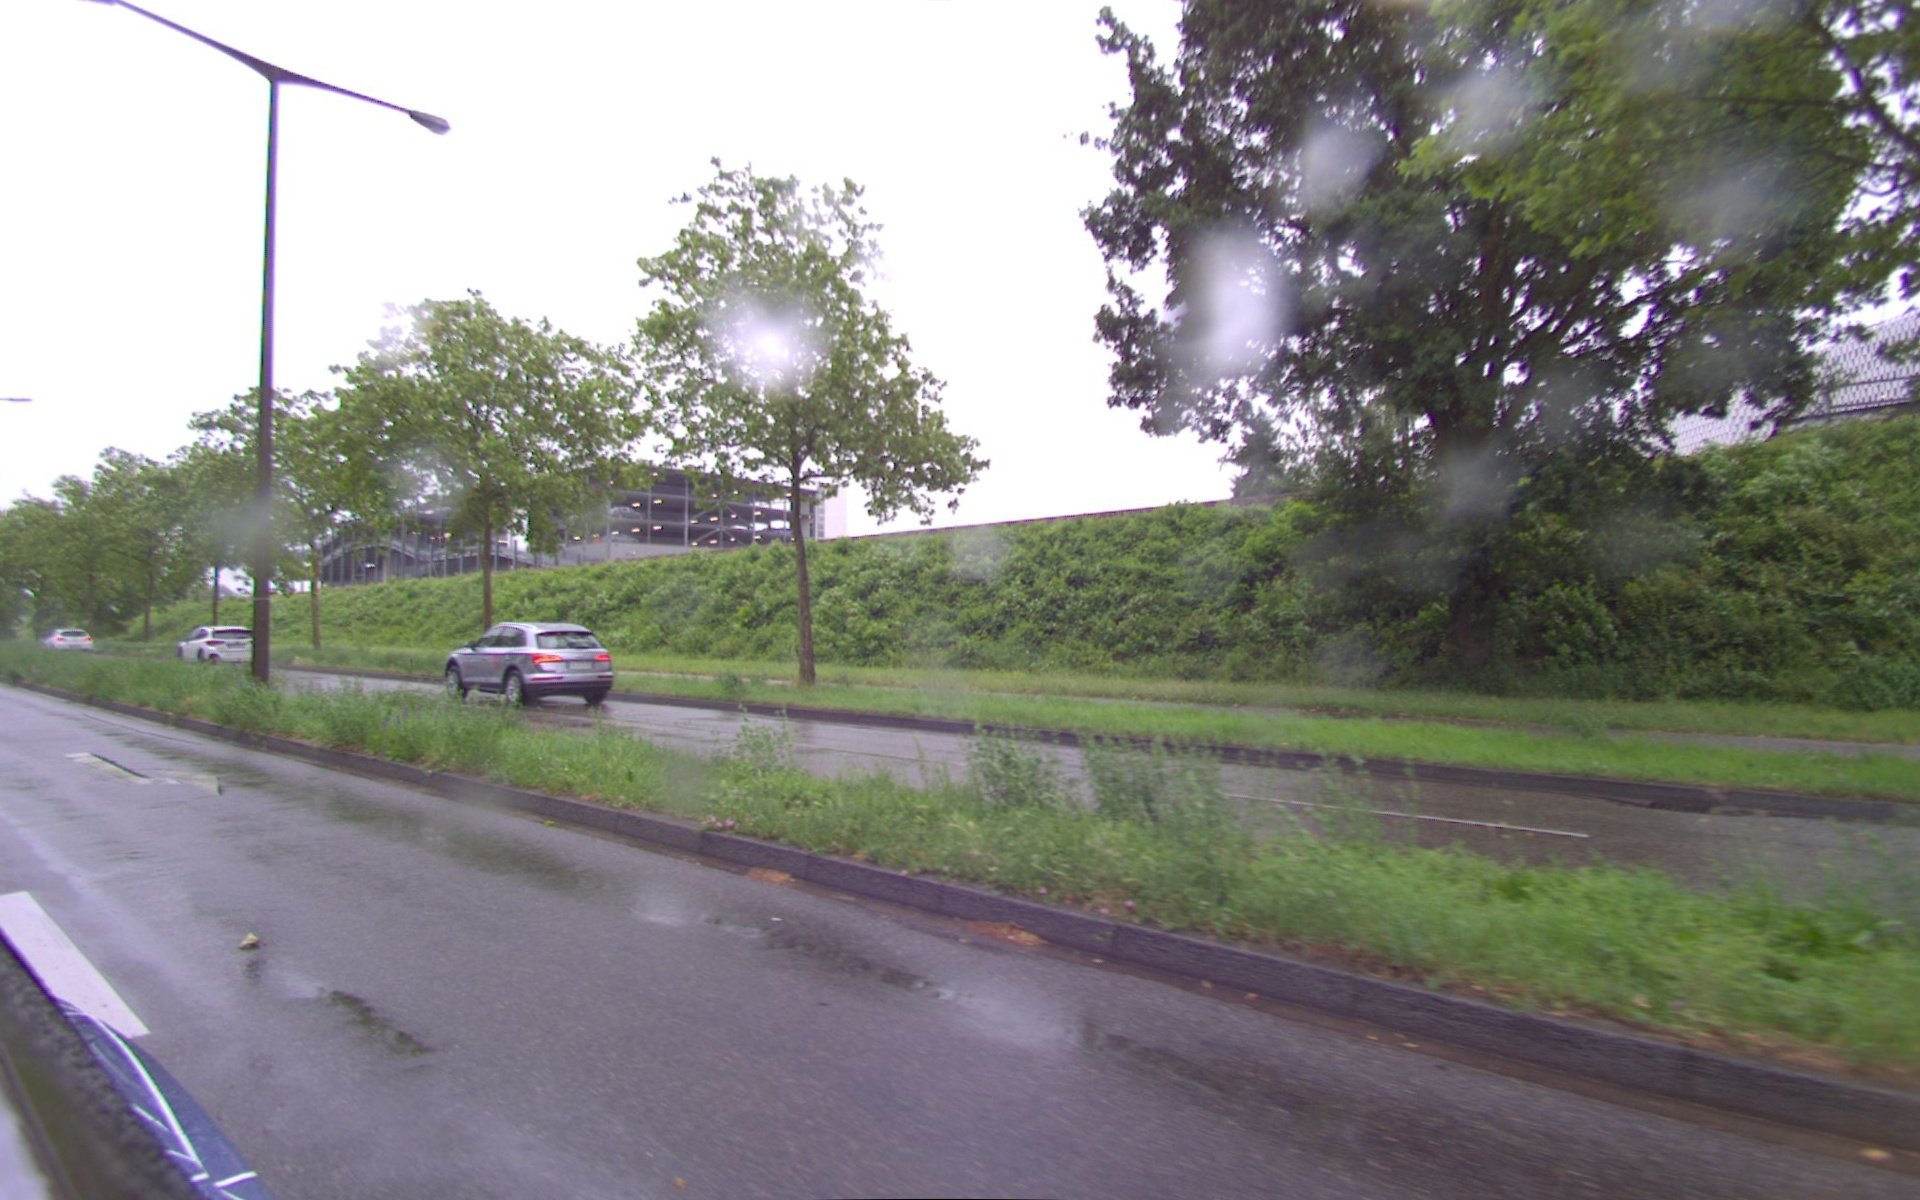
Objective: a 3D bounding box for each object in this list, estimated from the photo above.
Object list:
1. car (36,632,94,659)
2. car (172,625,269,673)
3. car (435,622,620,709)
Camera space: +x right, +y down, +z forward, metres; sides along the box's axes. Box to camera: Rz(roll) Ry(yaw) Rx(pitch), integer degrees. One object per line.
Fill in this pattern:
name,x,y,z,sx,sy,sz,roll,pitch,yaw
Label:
car,-51.702,2.599,58.423,4.654,1.456,1.911,-2,-2,41
car,-26.623,1.732,36.393,4.516,1.601,1.837,-1,-3,41
car,-9.023,1.301,20.936,4.519,1.601,1.836,-2,-4,43
